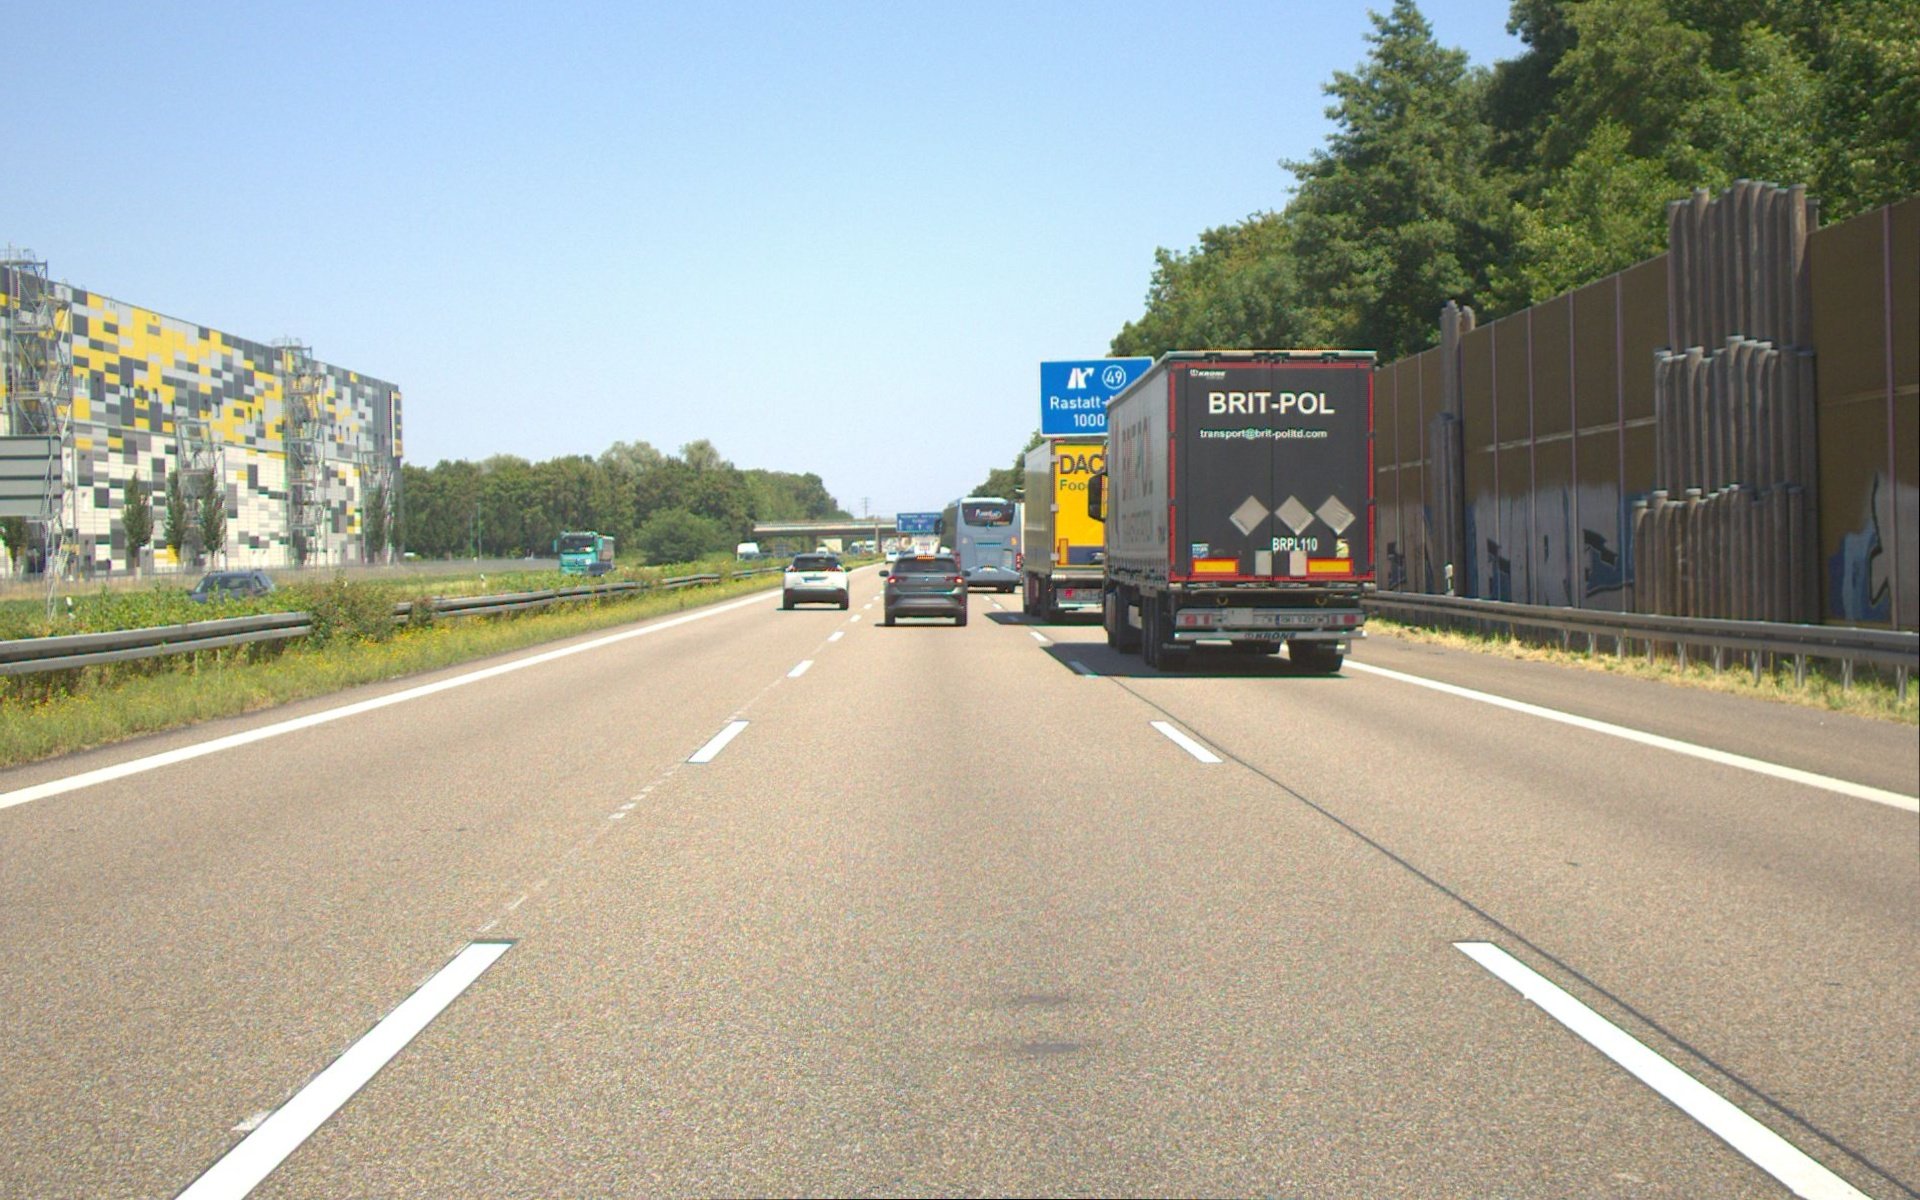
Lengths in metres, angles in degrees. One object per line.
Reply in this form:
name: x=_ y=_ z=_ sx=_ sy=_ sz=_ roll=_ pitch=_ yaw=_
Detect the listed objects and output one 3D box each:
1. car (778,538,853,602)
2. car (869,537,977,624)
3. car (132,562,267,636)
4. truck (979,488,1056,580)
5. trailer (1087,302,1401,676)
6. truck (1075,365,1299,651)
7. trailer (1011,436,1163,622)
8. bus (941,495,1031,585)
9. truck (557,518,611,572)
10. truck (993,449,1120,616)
car: x=-3.945 y=-0.832 z=94.612 sx=1.993 sy=1.722 sz=4.131 roll=0 pitch=1 yaw=-1
car: x=-0.816 y=-0.446 z=74.600 sx=2.216 sy=1.784 sz=5.393 roll=-1 pitch=1 yaw=-1
car: x=-18.336 y=-0.029 z=83.143 sx=1.993 sy=1.674 sz=5.552 roll=-2 pitch=0 yaw=0
truck: x=2.648 y=-3.100 z=161.730 sx=3.423 sy=4.112 sz=9.564 roll=-1 pitch=1 yaw=0
trailer: x=3.697 y=-1.417 z=48.880 sx=3.106 sy=4.491 sz=14.897 roll=0 pitch=1 yaw=0
truck: x=3.617 y=-1.449 z=56.213 sx=3.087 sy=4.425 sz=6.053 roll=0 pitch=0 yaw=-2
trailer: x=2.769 y=-1.606 z=78.522 sx=2.834 sy=3.940 sz=11.685 roll=0 pitch=1 yaw=-1
bus: x=0.941 y=-2.307 z=133.497 sx=3.062 sy=3.315 sz=8.275 roll=-2 pitch=1 yaw=-2
truck: x=-23.152 y=-3.347 z=211.945 sx=2.697 sy=3.239 sz=5.838 roll=-1 pitch=0 yaw=0
truck: x=2.351 y=-1.684 z=86.150 sx=2.813 sy=3.993 sz=6.645 roll=-1 pitch=1 yaw=-1
